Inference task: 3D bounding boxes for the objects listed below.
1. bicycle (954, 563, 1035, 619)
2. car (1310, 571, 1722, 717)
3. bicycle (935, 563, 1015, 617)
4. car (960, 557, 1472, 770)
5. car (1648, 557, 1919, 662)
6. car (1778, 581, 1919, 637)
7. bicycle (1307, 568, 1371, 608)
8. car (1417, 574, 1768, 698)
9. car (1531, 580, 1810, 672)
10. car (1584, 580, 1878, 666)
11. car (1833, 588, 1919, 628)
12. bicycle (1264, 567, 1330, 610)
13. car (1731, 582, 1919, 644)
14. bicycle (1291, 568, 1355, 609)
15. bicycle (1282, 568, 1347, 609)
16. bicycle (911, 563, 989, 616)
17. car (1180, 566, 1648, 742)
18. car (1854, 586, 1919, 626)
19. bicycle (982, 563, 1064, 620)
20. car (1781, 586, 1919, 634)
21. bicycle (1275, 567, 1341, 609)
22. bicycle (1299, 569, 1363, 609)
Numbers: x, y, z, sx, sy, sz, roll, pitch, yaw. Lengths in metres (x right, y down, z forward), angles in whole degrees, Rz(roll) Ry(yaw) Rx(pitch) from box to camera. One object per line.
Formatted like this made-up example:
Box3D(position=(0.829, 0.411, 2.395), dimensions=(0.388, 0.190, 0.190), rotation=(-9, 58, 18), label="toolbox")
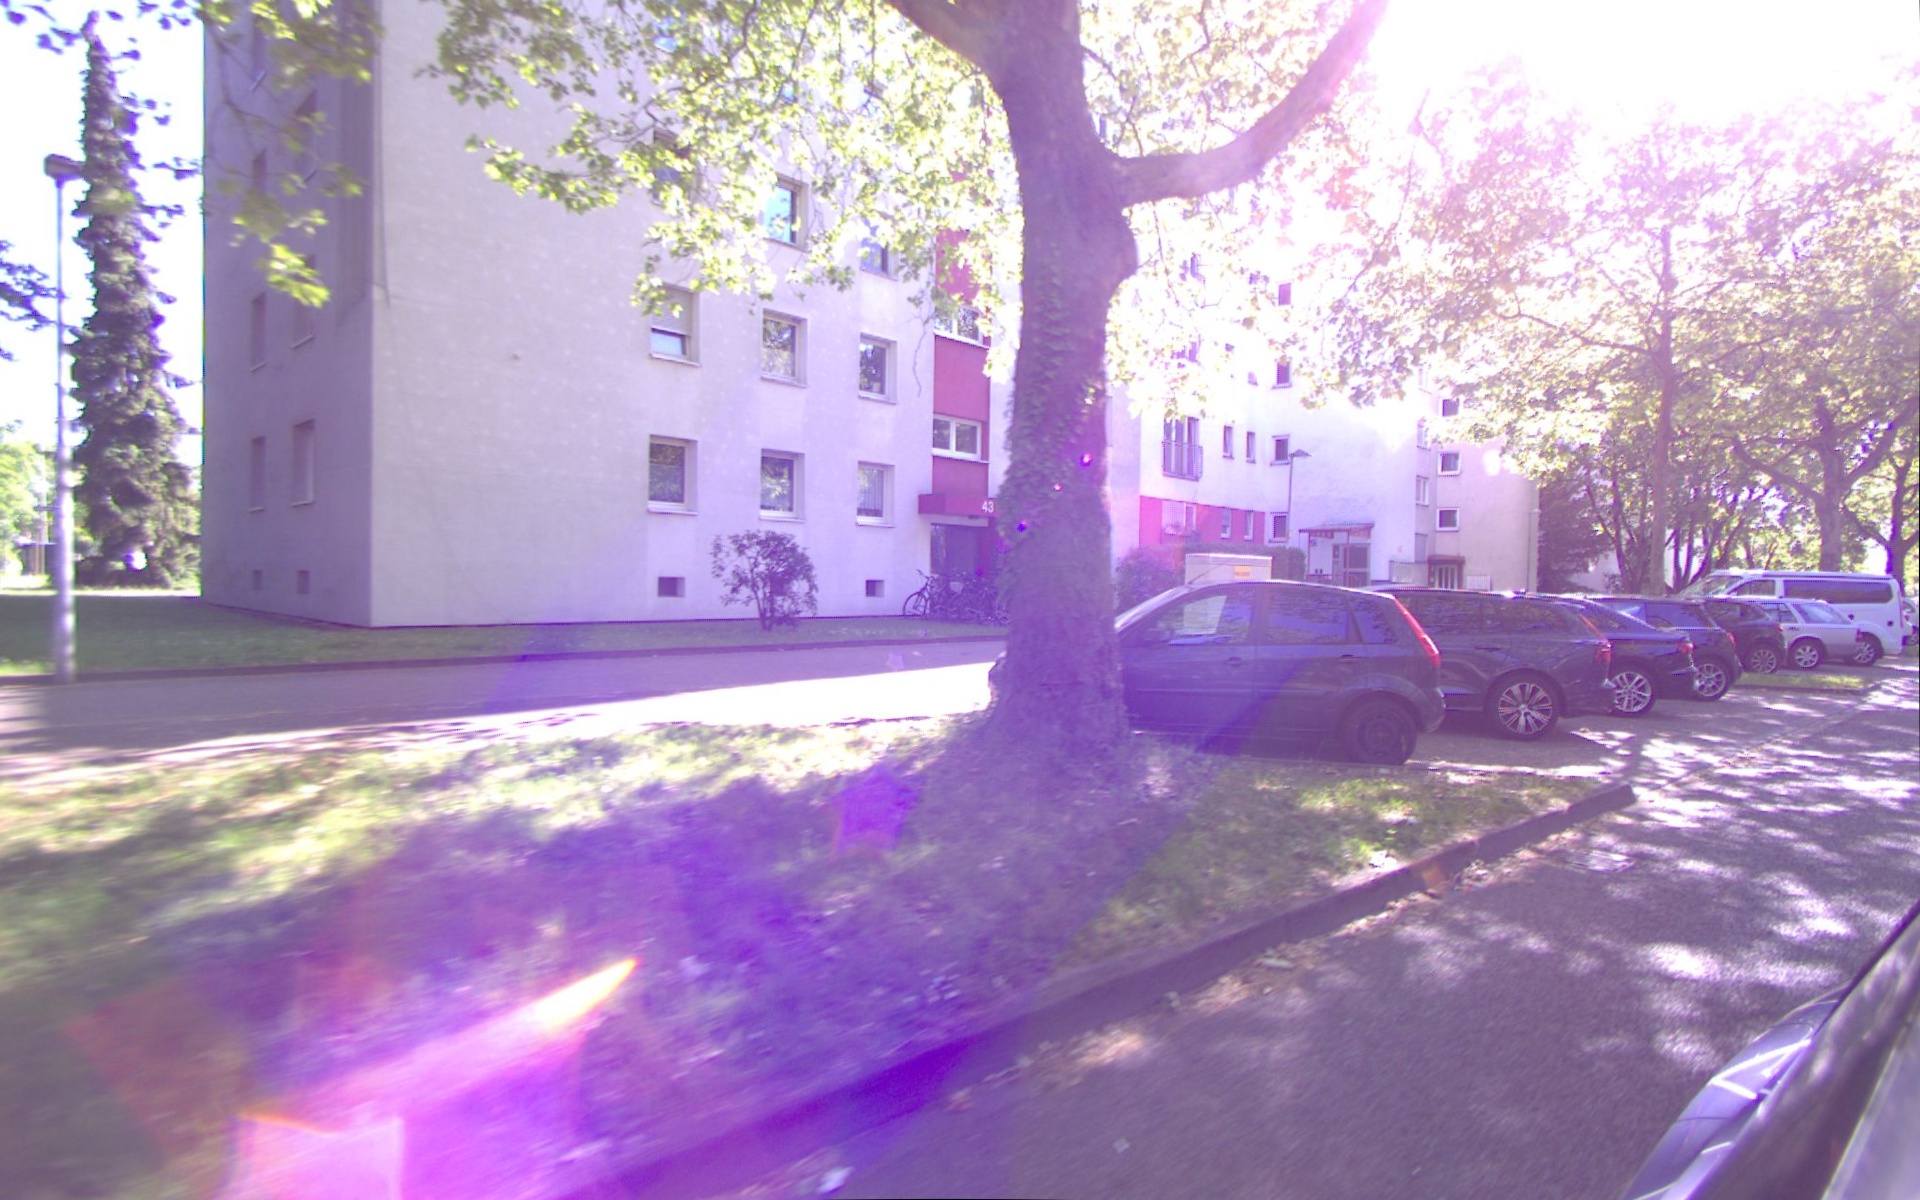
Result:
Box3D(position=(0.739, -0.194, 21.198), dimensions=(1.769, 1.121, 0.591), rotation=(0, 1, -41), label="bicycle")
Box3D(position=(6.896, 0.482, 13.031), dimensions=(4.187, 1.479, 1.796), rotation=(3, 3, 10), label="car")
Box3D(position=(0.329, -0.220, 21.676), dimensions=(1.769, 1.121, 0.591), rotation=(0, 1, -41), label="bicycle")
Box3D(position=(2.052, 0.453, 8.949), dimensions=(3.930, 1.479, 1.798), rotation=(3, 3, 5), label="car")
Box3D(position=(18.882, 0.147, 23.270), dimensions=(4.516, 2.077, 2.013), rotation=(3, 3, 10), label="car")
Box3D(position=(30.036, 0.303, 33.676), dimensions=(3.932, 1.609, 1.797), rotation=(3, 3, 7), label="car")
Box3D(position=(12.125, -0.380, 32.419), dimensions=(0.492, 1.143, 1.796), rotation=(0, 4, -45), label="bicycle")
Box3D(position=(9.174, 0.466, 15.002), dimensions=(3.932, 1.485, 1.780), rotation=(3, 3, 7), label="car")
Box3D(position=(13.366, 0.443, 19.258), dimensions=(3.856, 1.434, 1.798), rotation=(3, 3, 7), label="car")
Box3D(position=(16.022, 0.429, 21.265), dimensions=(4.514, 1.441, 1.797), rotation=(3, 3, 8), label="car")
Box3D(position=(37.821, 0.369, 40.167), dimensions=(4.508, 1.440, 1.799), rotation=(2, 2, 4), label="car")
Box3D(position=(10.150, -0.361, 30.534), dimensions=(0.492, 1.143, 1.796), rotation=(0, 4, -45), label="bicycle")
Box3D(position=(25.367, 0.364, 29.587), dimensions=(4.134, 1.528, 1.800), rotation=(3, 3, 2), label="car")
Box3D(position=(11.330, -0.363, 31.640), dimensions=(0.492, 1.143, 1.796), rotation=(0, 4, -45), label="bicycle")
Box3D(position=(10.952, -0.364, 31.270), dimensions=(0.492, 1.143, 1.796), rotation=(0, 4, -45), label="bicycle")
Box3D(position=(-0.206, -0.240, 22.275), dimensions=(1.769, 1.121, 0.591), rotation=(0, 1, -41), label="bicycle")
Box3D(position=(4.601, 0.477, 10.914), dimensions=(4.187, 1.479, 1.796), rotation=(3, 3, 9), label="car")
Box3D(position=(41.176, 0.311, 43.308), dimensions=(3.935, 1.595, 1.796), rotation=(3, 2, 9), label="car")
Box3D(position=(1.297, -0.181, 20.714), dimensions=(1.769, 1.121, 0.591), rotation=(0, 1, -41), label="bicycle")
Box3D(position=(32.286, 0.364, 35.929), dimensions=(4.339, 1.445, 1.947), rotation=(3, 3, 10), label="car")
Box3D(position=(10.616, -0.363, 30.911), dimensions=(0.492, 1.143, 1.796), rotation=(0, 4, -45), label="bicycle")
Box3D(position=(11.722, -0.365, 32.028), dimensions=(0.541, 1.143, 1.796), rotation=(0, 4, -45), label="bicycle")
